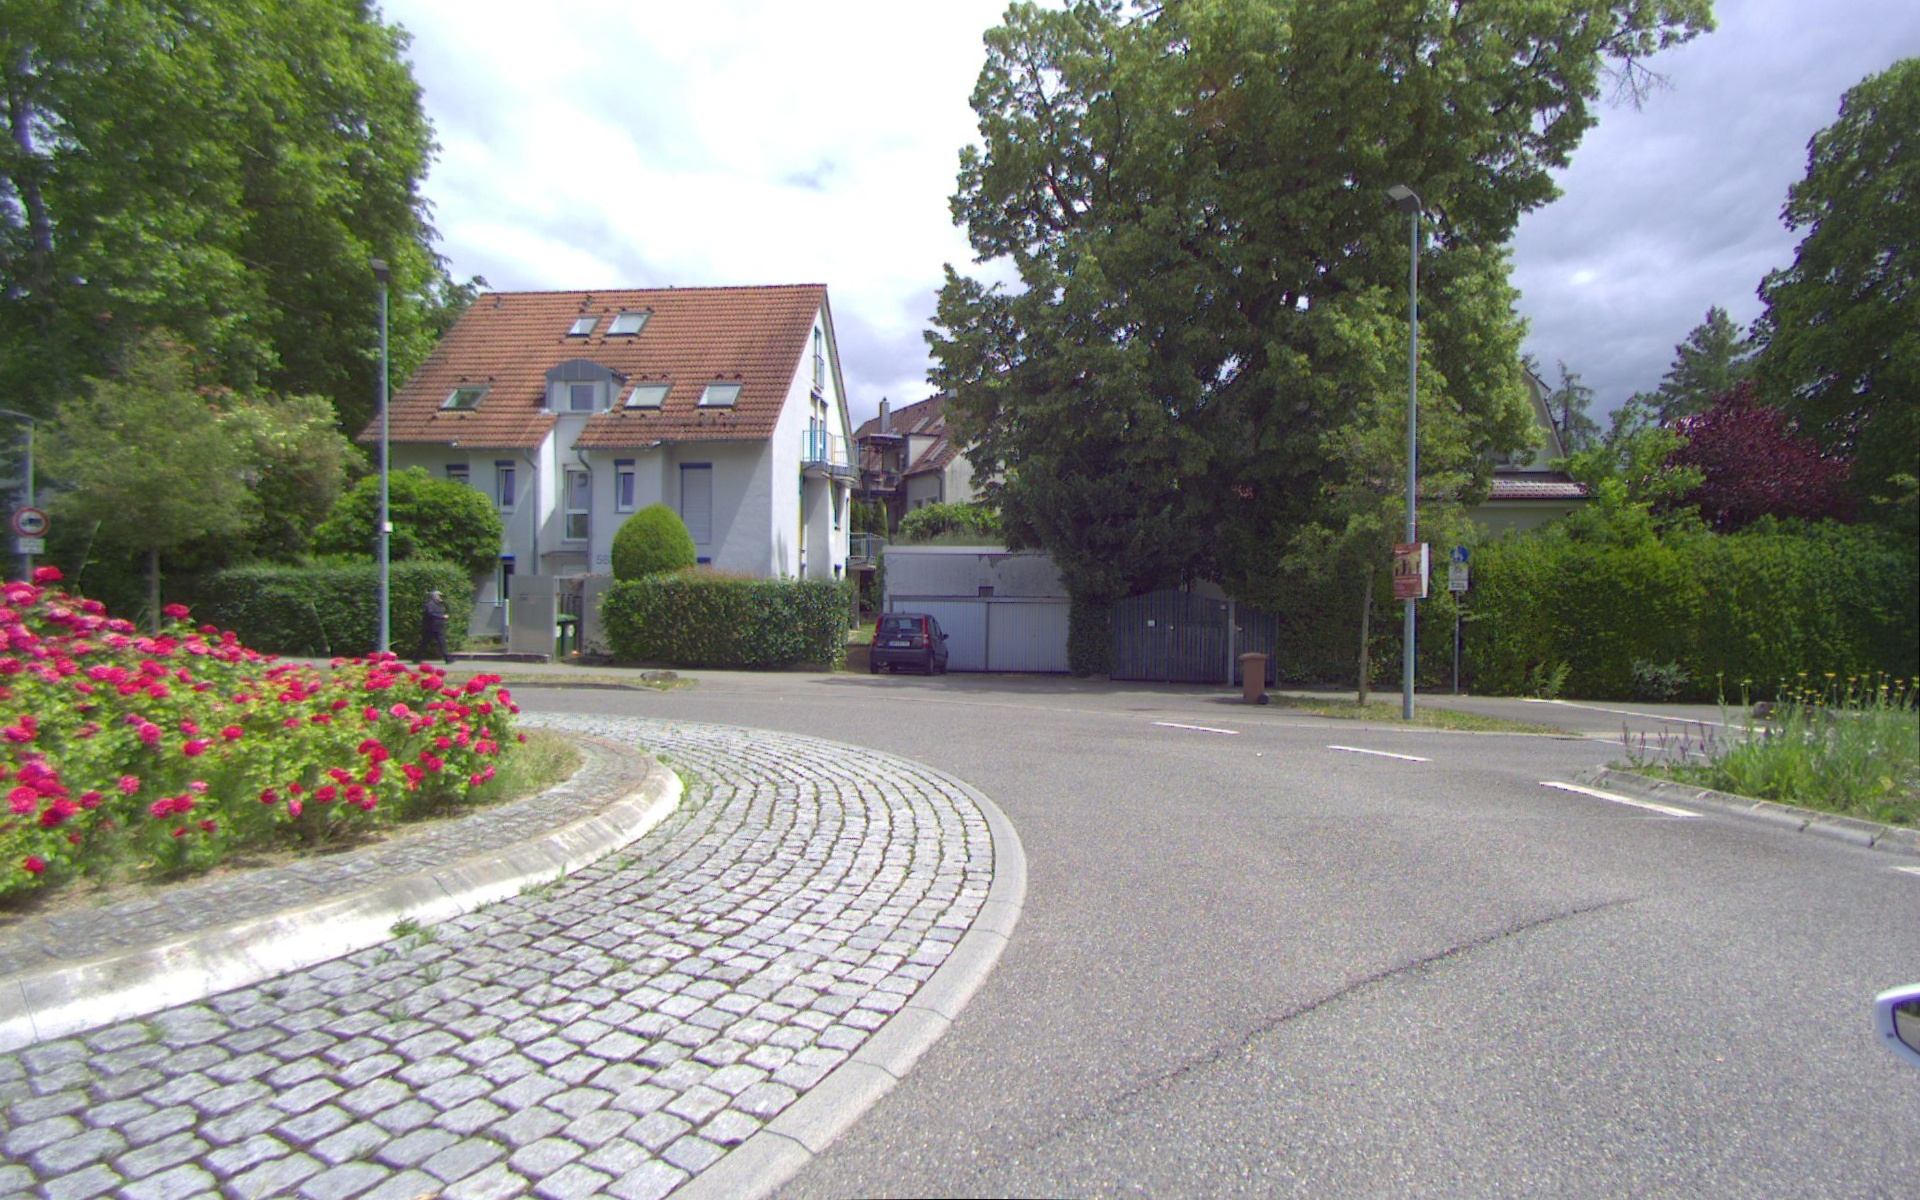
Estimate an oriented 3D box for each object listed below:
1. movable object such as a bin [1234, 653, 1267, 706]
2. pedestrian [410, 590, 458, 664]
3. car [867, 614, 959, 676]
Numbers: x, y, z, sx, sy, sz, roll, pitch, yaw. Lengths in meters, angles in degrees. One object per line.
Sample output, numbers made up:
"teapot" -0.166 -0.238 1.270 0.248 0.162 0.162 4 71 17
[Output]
"movable object such as a bin" 5.354 1.453 18.524 0.406 0.947 0.439 2 -1 -20
"pedestrian" -12.511 0.639 23.903 0.680 1.714 0.746 2 1 10
"car" -1.113 1.175 25.613 1.631 1.415 3.582 2 -3 9
